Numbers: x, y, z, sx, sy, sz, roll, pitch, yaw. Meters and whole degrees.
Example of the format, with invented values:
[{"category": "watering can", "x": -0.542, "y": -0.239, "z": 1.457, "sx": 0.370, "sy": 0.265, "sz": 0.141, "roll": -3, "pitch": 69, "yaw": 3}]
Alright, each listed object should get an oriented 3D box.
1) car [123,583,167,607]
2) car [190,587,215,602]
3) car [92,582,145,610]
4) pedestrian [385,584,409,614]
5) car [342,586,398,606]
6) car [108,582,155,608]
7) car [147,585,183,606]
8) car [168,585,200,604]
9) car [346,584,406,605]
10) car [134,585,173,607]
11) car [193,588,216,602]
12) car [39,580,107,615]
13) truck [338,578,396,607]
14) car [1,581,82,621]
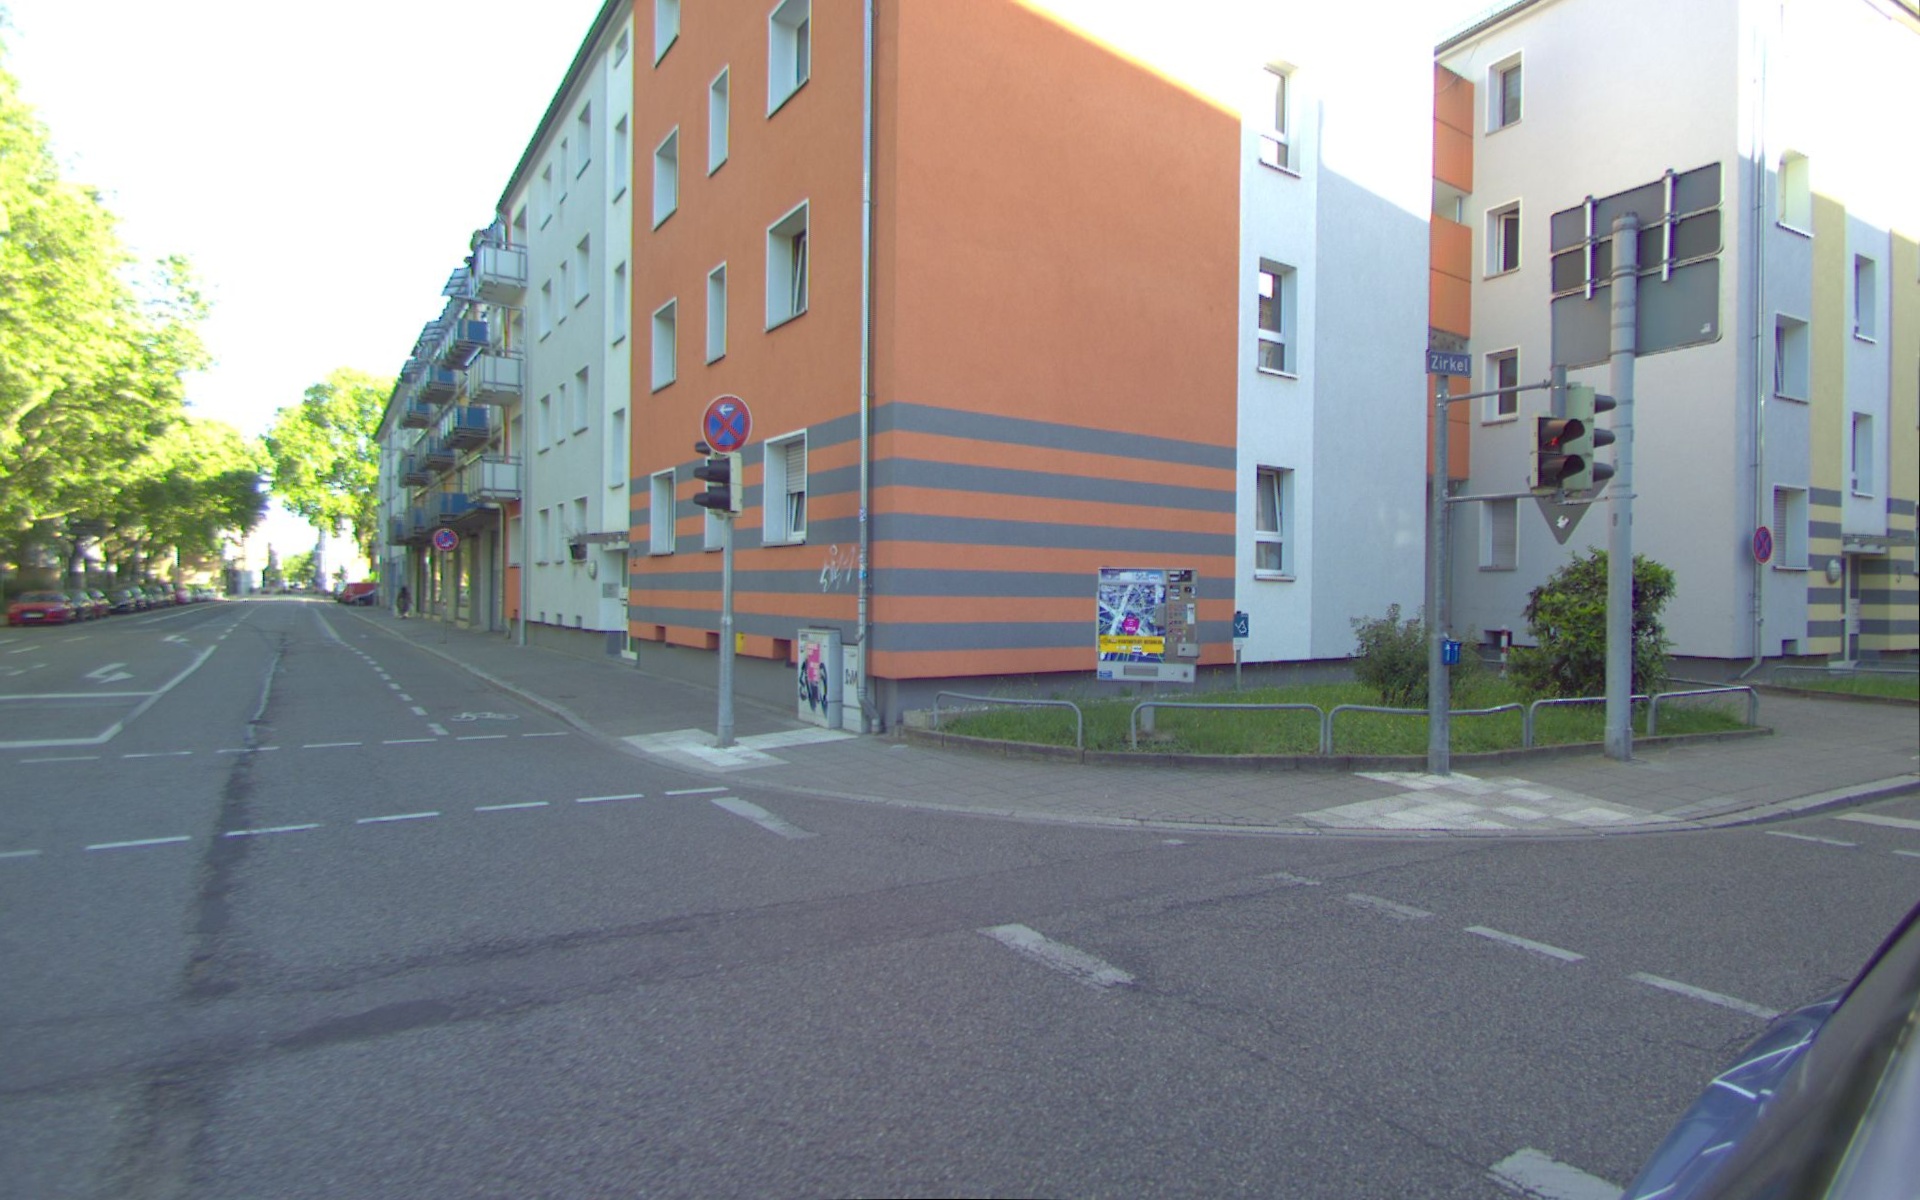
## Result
[{"category": "car", "x": -54.013, "y": -0.323, "z": 67.129, "sx": 1.854, "sy": 1.565, "sz": 4.001, "roll": 0, "pitch": 0, "yaw": -33}, {"category": "car", "x": -80.719, "y": -0.588, "z": 107.854, "sx": 1.854, "sy": 1.565, "sz": 4.001, "roll": 0, "pitch": 0, "yaw": -33}, {"category": "car", "x": -48.644, "y": -0.224, "z": 58.567, "sx": 1.854, "sy": 1.565, "sz": 4.001, "roll": 0, "pitch": 0, "yaw": -33}, {"category": "pedestrian", "x": -26.973, "y": -0.066, "z": 48.493, "sx": 0.930, "sy": 1.411, "sz": 0.955, "roll": 0, "pitch": 0, "yaw": -34}, {"category": "car", "x": -49.272, "y": -0.317, "z": 84.492, "sx": 3.923, "sy": 1.569, "sz": 1.802, "roll": -1, "pitch": -1, "yaw": -34}, {"category": "car", "x": -51.325, "y": -0.297, "z": 62.763, "sx": 1.854, "sy": 1.565, "sz": 4.001, "roll": 0, "pitch": 0, "yaw": -33}, {"category": "car", "x": -60.959, "y": -0.337, "z": 77.638, "sx": 1.854, "sy": 1.565, "sz": 4.001, "roll": 0, "pitch": 0, "yaw": -33}, {"category": "car", "x": -66.327, "y": -0.458, "z": 86.518, "sx": 1.854, "sy": 1.565, "sz": 4.001, "roll": 0, "pitch": 0, "yaw": -33}, {"category": "car", "x": -45.321, "y": -0.439, "z": 78.528, "sx": 3.923, "sy": 1.569, "sz": 1.802, "roll": -1, "pitch": -1, "yaw": -34}, {"category": "car", "x": -58.221, "y": -0.303, "z": 73.116, "sx": 1.854, "sy": 1.565, "sz": 4.001, "roll": 0, "pitch": 0, "yaw": -33}, {"category": "car", "x": -86.263, "y": -0.623, "z": 115.549, "sx": 1.854, "sy": 1.565, "sz": 4.001, "roll": 0, "pitch": 0, "yaw": -33}, {"category": "car", "x": -41.929, "y": -0.119, "z": 47.902, "sx": 1.854, "sy": 1.565, "sz": 4.001, "roll": 0, "pitch": 0, "yaw": -33}, {"category": "truck", "x": -52.204, "y": -0.680, "z": 89.095, "sx": 4.360, "sy": 2.478, "sz": 1.802, "roll": 0, "pitch": -1, "yaw": -34}, {"category": "car", "x": -37.908, "y": 0.029, "z": 41.856, "sx": 1.854, "sy": 1.565, "sz": 4.001, "roll": 0, "pitch": 0, "yaw": -33}]
